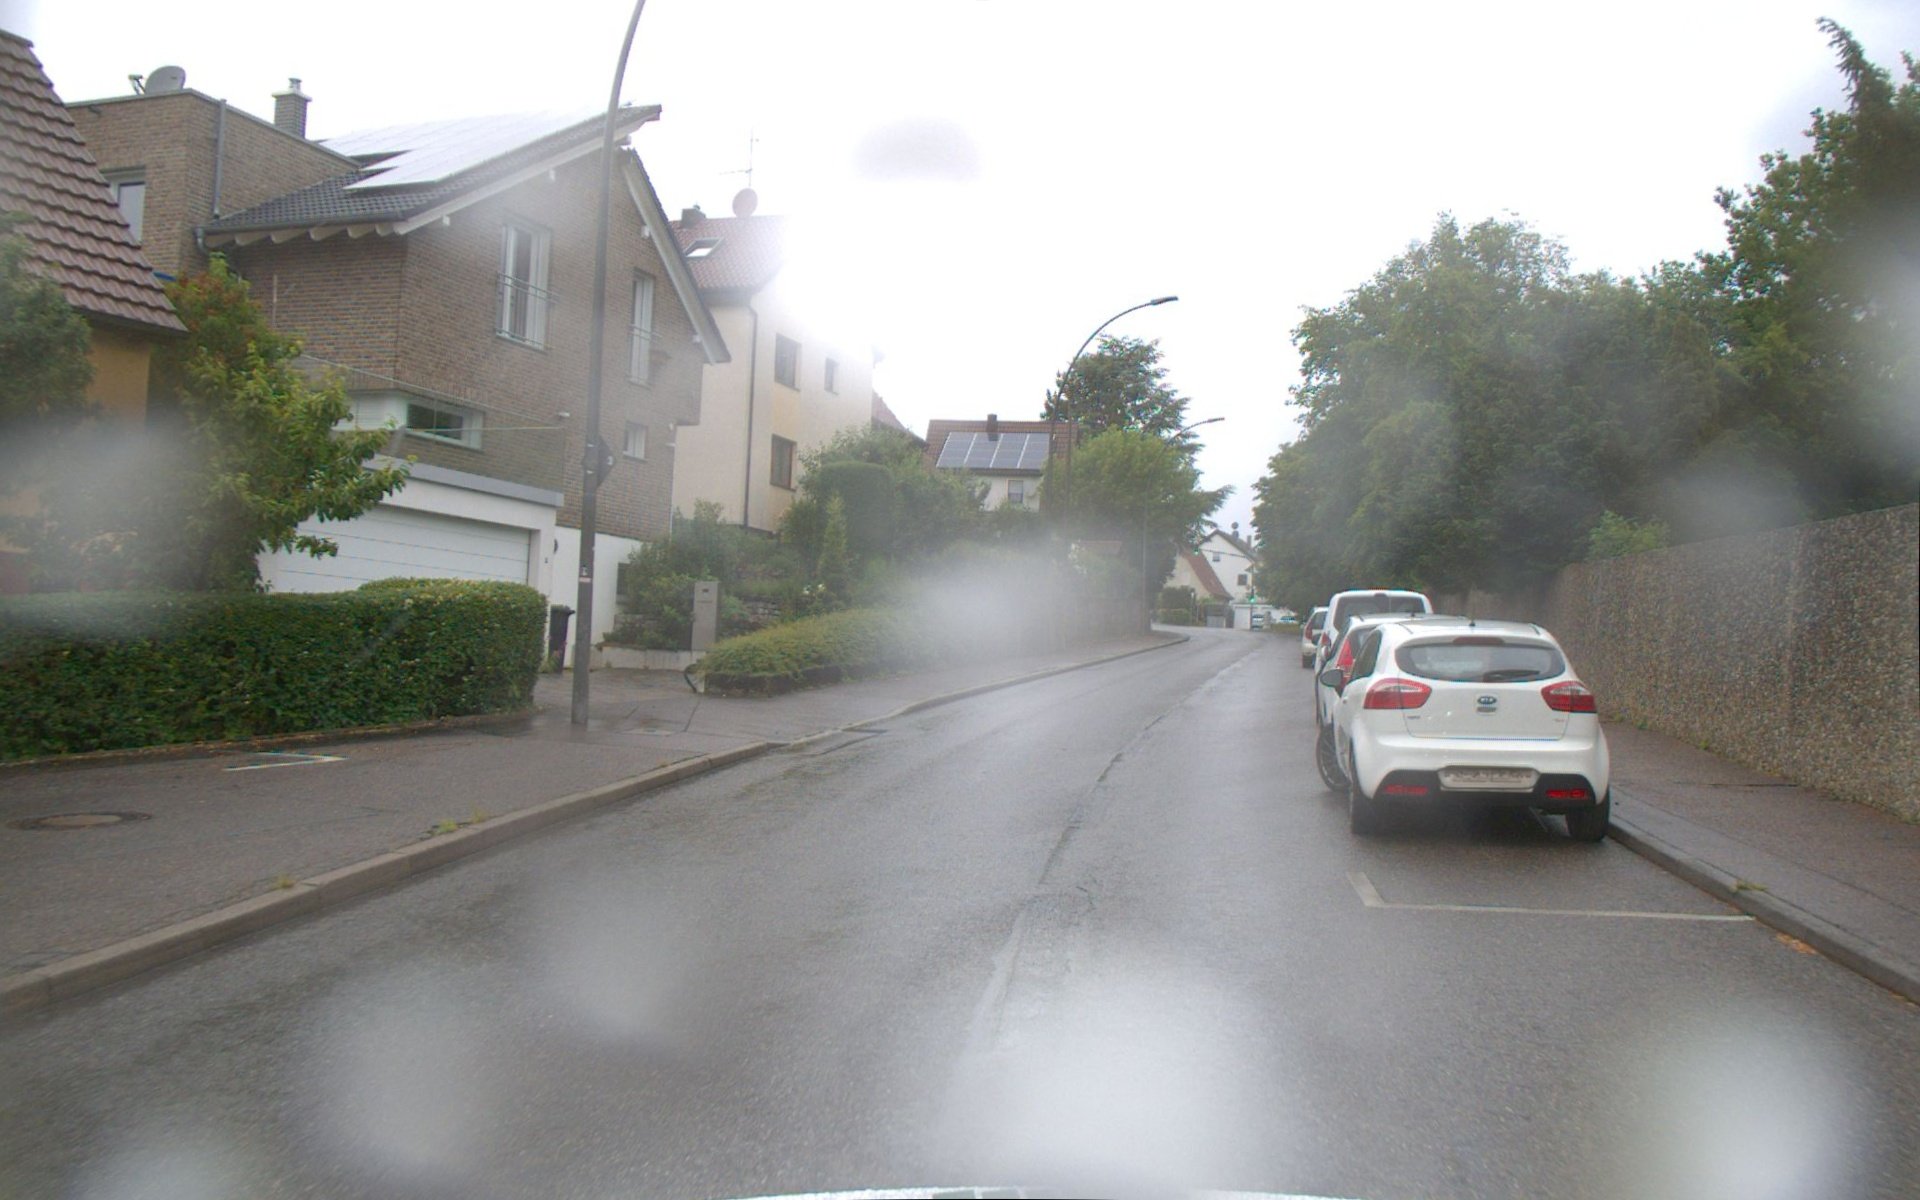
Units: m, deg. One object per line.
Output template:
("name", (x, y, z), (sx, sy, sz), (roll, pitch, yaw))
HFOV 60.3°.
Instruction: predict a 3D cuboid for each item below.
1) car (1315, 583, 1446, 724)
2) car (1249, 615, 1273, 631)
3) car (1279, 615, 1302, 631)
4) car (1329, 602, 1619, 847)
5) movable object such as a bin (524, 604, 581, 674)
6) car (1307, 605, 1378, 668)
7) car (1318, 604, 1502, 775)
("car", (5.884, 0.715, 23.442), (1.602, 1.771, 4.139), (1, -1, 12))
("car", (29.211, 2.191, 160.429), (1.866, 1.467, 4.002), (1, 0, 15))
("car", (31.968, 2.200, 159.925), (1.866, 1.467, 4.002), (1, 0, 15))
("car", (3.741, 0.811, 12.627), (1.577, 1.506, 4.041), (2, 0, 10))
("movable object such as a bin", (-6.466, 0.609, 26.286), (0.549, 1.093, 0.712), (0, 0, 23))
("car", (10.404, 0.977, 44.900), (1.776, 1.601, 3.883), (1, -1, 13))
("car", (4.649, 0.837, 17.519), (1.610, 1.487, 4.004), (2, 1, 12))
